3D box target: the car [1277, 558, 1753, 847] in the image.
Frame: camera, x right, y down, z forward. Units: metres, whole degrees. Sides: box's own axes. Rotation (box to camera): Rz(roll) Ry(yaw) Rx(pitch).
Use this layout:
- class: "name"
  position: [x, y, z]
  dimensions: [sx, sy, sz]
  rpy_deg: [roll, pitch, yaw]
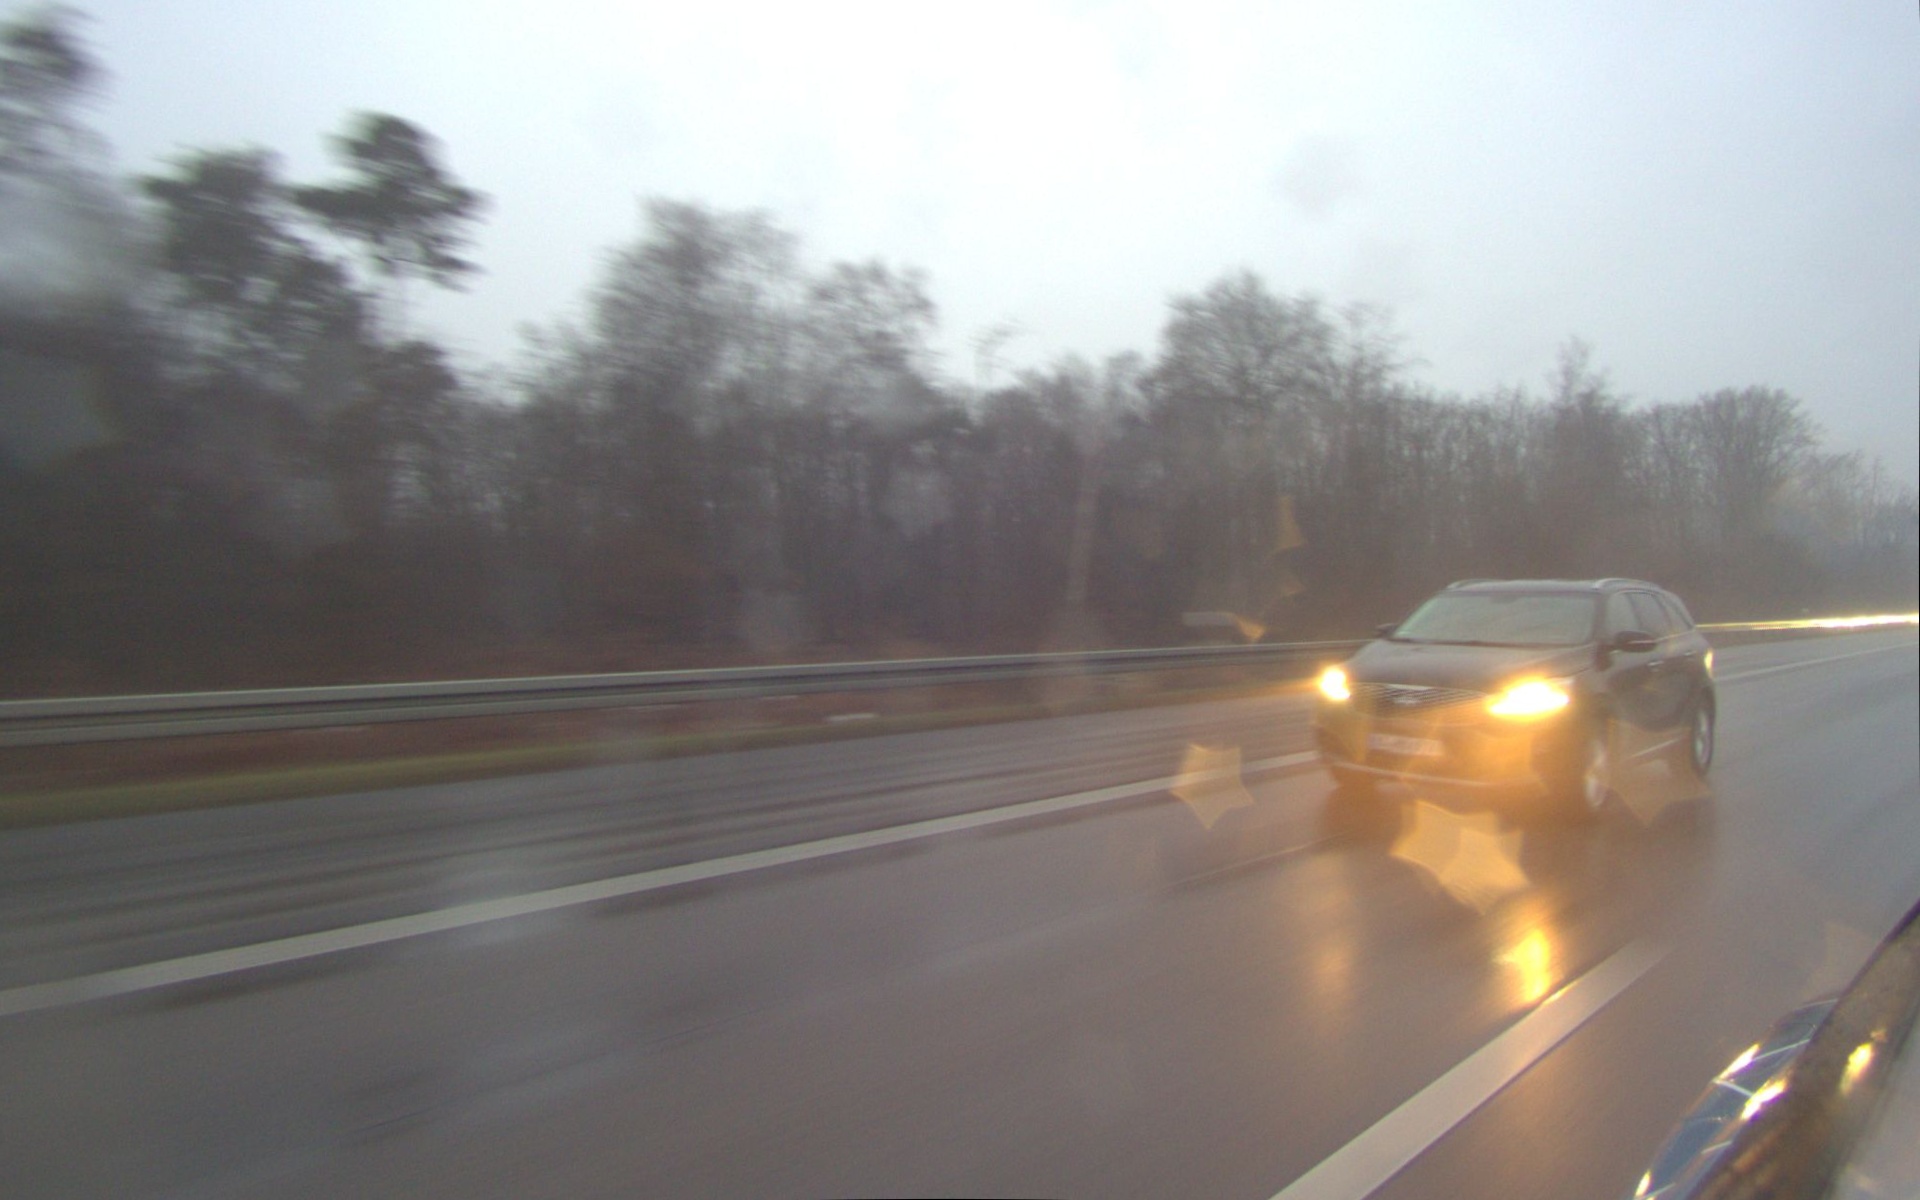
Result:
- class: "car"
  position: [4.692, 0.596, 8.268]
  dimensions: [4.384, 1.719, 2.073]
  rpy_deg: [0, 0, -42]
